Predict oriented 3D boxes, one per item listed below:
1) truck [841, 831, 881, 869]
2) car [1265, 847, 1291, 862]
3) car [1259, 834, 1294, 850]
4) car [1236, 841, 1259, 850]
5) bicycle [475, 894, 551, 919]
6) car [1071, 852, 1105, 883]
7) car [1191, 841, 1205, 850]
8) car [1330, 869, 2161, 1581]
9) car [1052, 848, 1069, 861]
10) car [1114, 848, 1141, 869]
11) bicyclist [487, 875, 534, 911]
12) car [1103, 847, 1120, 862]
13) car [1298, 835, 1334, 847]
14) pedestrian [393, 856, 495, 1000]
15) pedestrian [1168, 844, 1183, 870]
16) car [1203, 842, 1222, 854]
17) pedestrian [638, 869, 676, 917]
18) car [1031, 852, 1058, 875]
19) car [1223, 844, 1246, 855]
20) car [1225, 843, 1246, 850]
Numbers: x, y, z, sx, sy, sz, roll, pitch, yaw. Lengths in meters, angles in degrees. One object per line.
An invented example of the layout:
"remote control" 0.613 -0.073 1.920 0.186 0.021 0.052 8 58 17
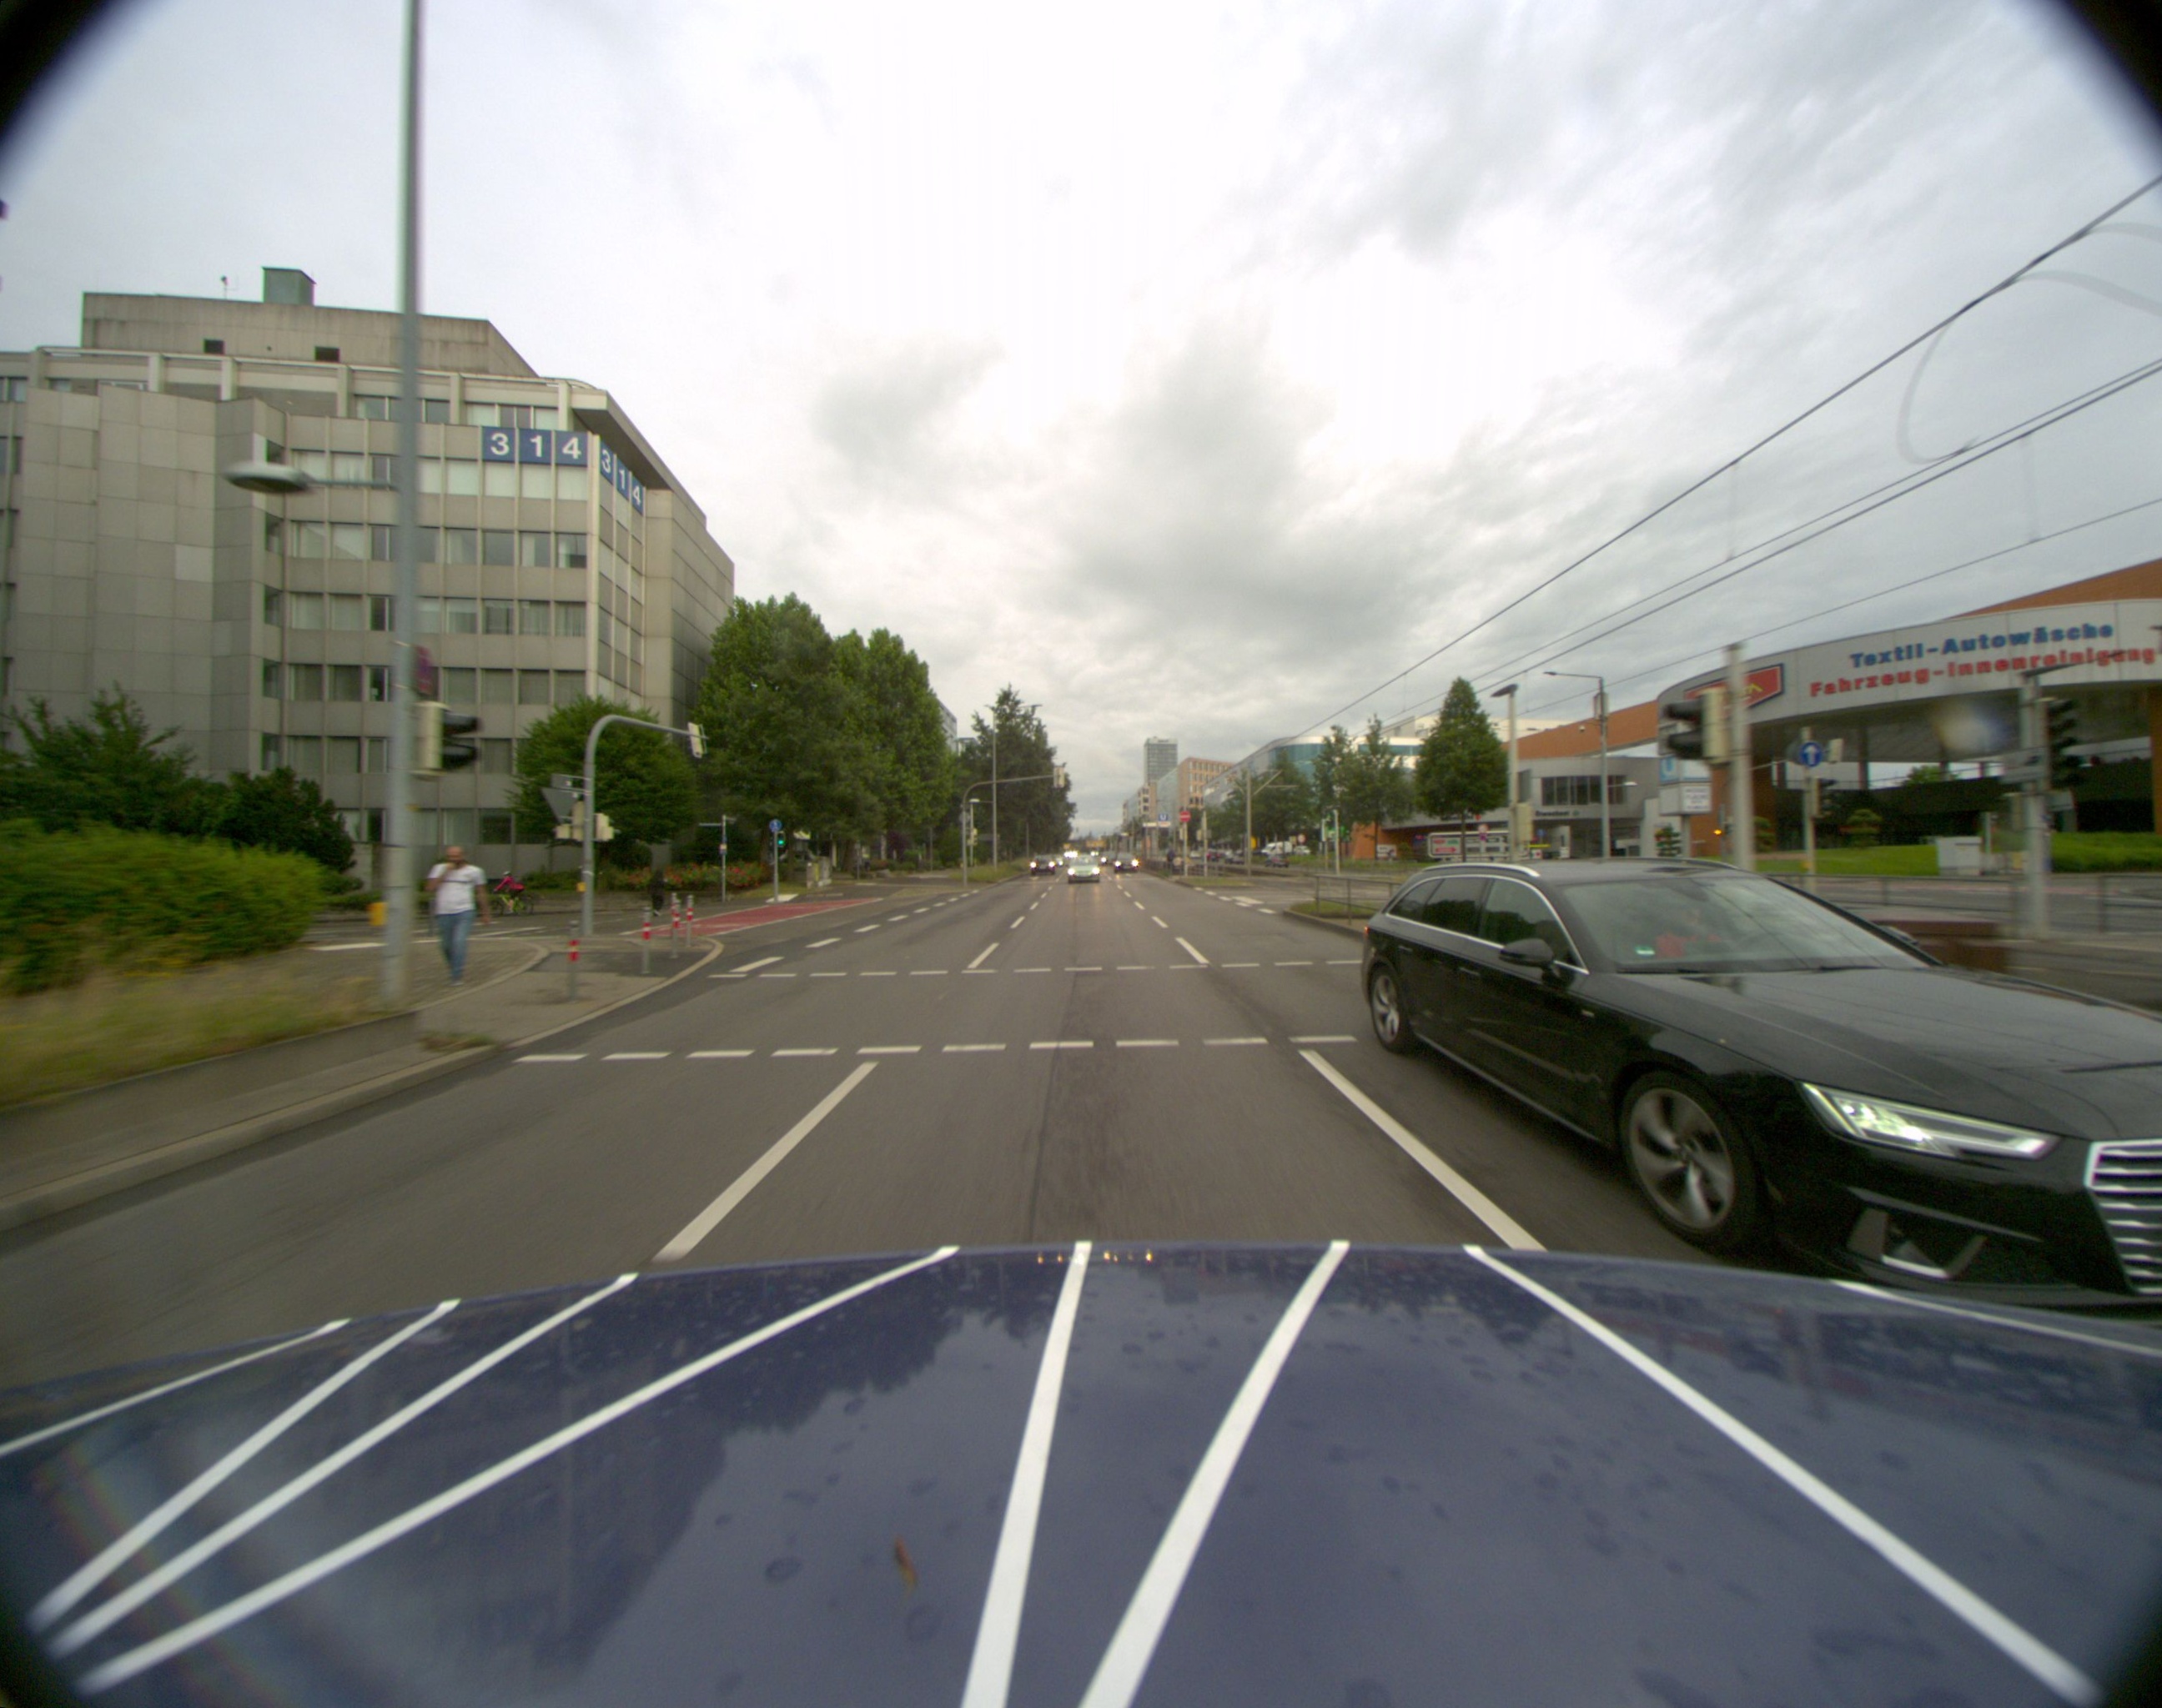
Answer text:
"truck" -15.700 -0.326 54.356 1.751 2.503 3.998 -3 1 -3
"car" 20.565 0.034 79.416 1.733 1.415 3.779 -1 1 0
"car" 34.329 -2.119 133.594 5.488 2.614 2.275 -3 2 -17
"car" 33.078 -1.689 151.069 3.999 1.652 1.921 -4 1 -7
"bicycle" -21.936 2.036 29.391 2.317 0.804 0.669 -3 1 -4
"car" 0.380 0.710 42.497 1.803 1.533 4.374 -2 1 0
"car" 23.400 -1.697 151.910 1.999 1.509 4.705 -3 1 -2
"car" 3.049 0.889 4.125 1.795 1.426 4.828 -2 0 0
"car" -2.475 0.039 90.875 1.873 1.533 4.106 -2 1 0
"car" 3.527 0.315 58.133 1.798 1.493 4.000 -2 1 1
"bicyclist" -22.034 1.513 29.343 1.219 1.281 0.657 -3 1 -4
"car" 3.479 0.052 86.791 1.781 1.670 4.130 -2 1 0
"car" 41.268 -2.237 133.473 5.483 1.915 2.277 -3 1 -6
"pedestrian" -7.708 0.857 9.232 0.556 1.643 0.831 -1 1 -9
"pedestrian" 6.293 0.192 50.400 0.703 1.641 0.648 -3 1 -28
"car" 19.635 -0.948 113.517 1.998 1.764 4.388 -1 1 0
"pedestrian" -14.233 1.285 25.512 0.901 1.532 0.801 0 1 39
"car" -2.814 0.702 59.436 1.816 1.660 4.548 -2 1 0
"car" 19.593 -0.561 97.243 1.858 1.419 4.387 0 1 -2
"car" 33.135 -1.649 162.822 3.845 1.482 1.821 -2 1 -18
